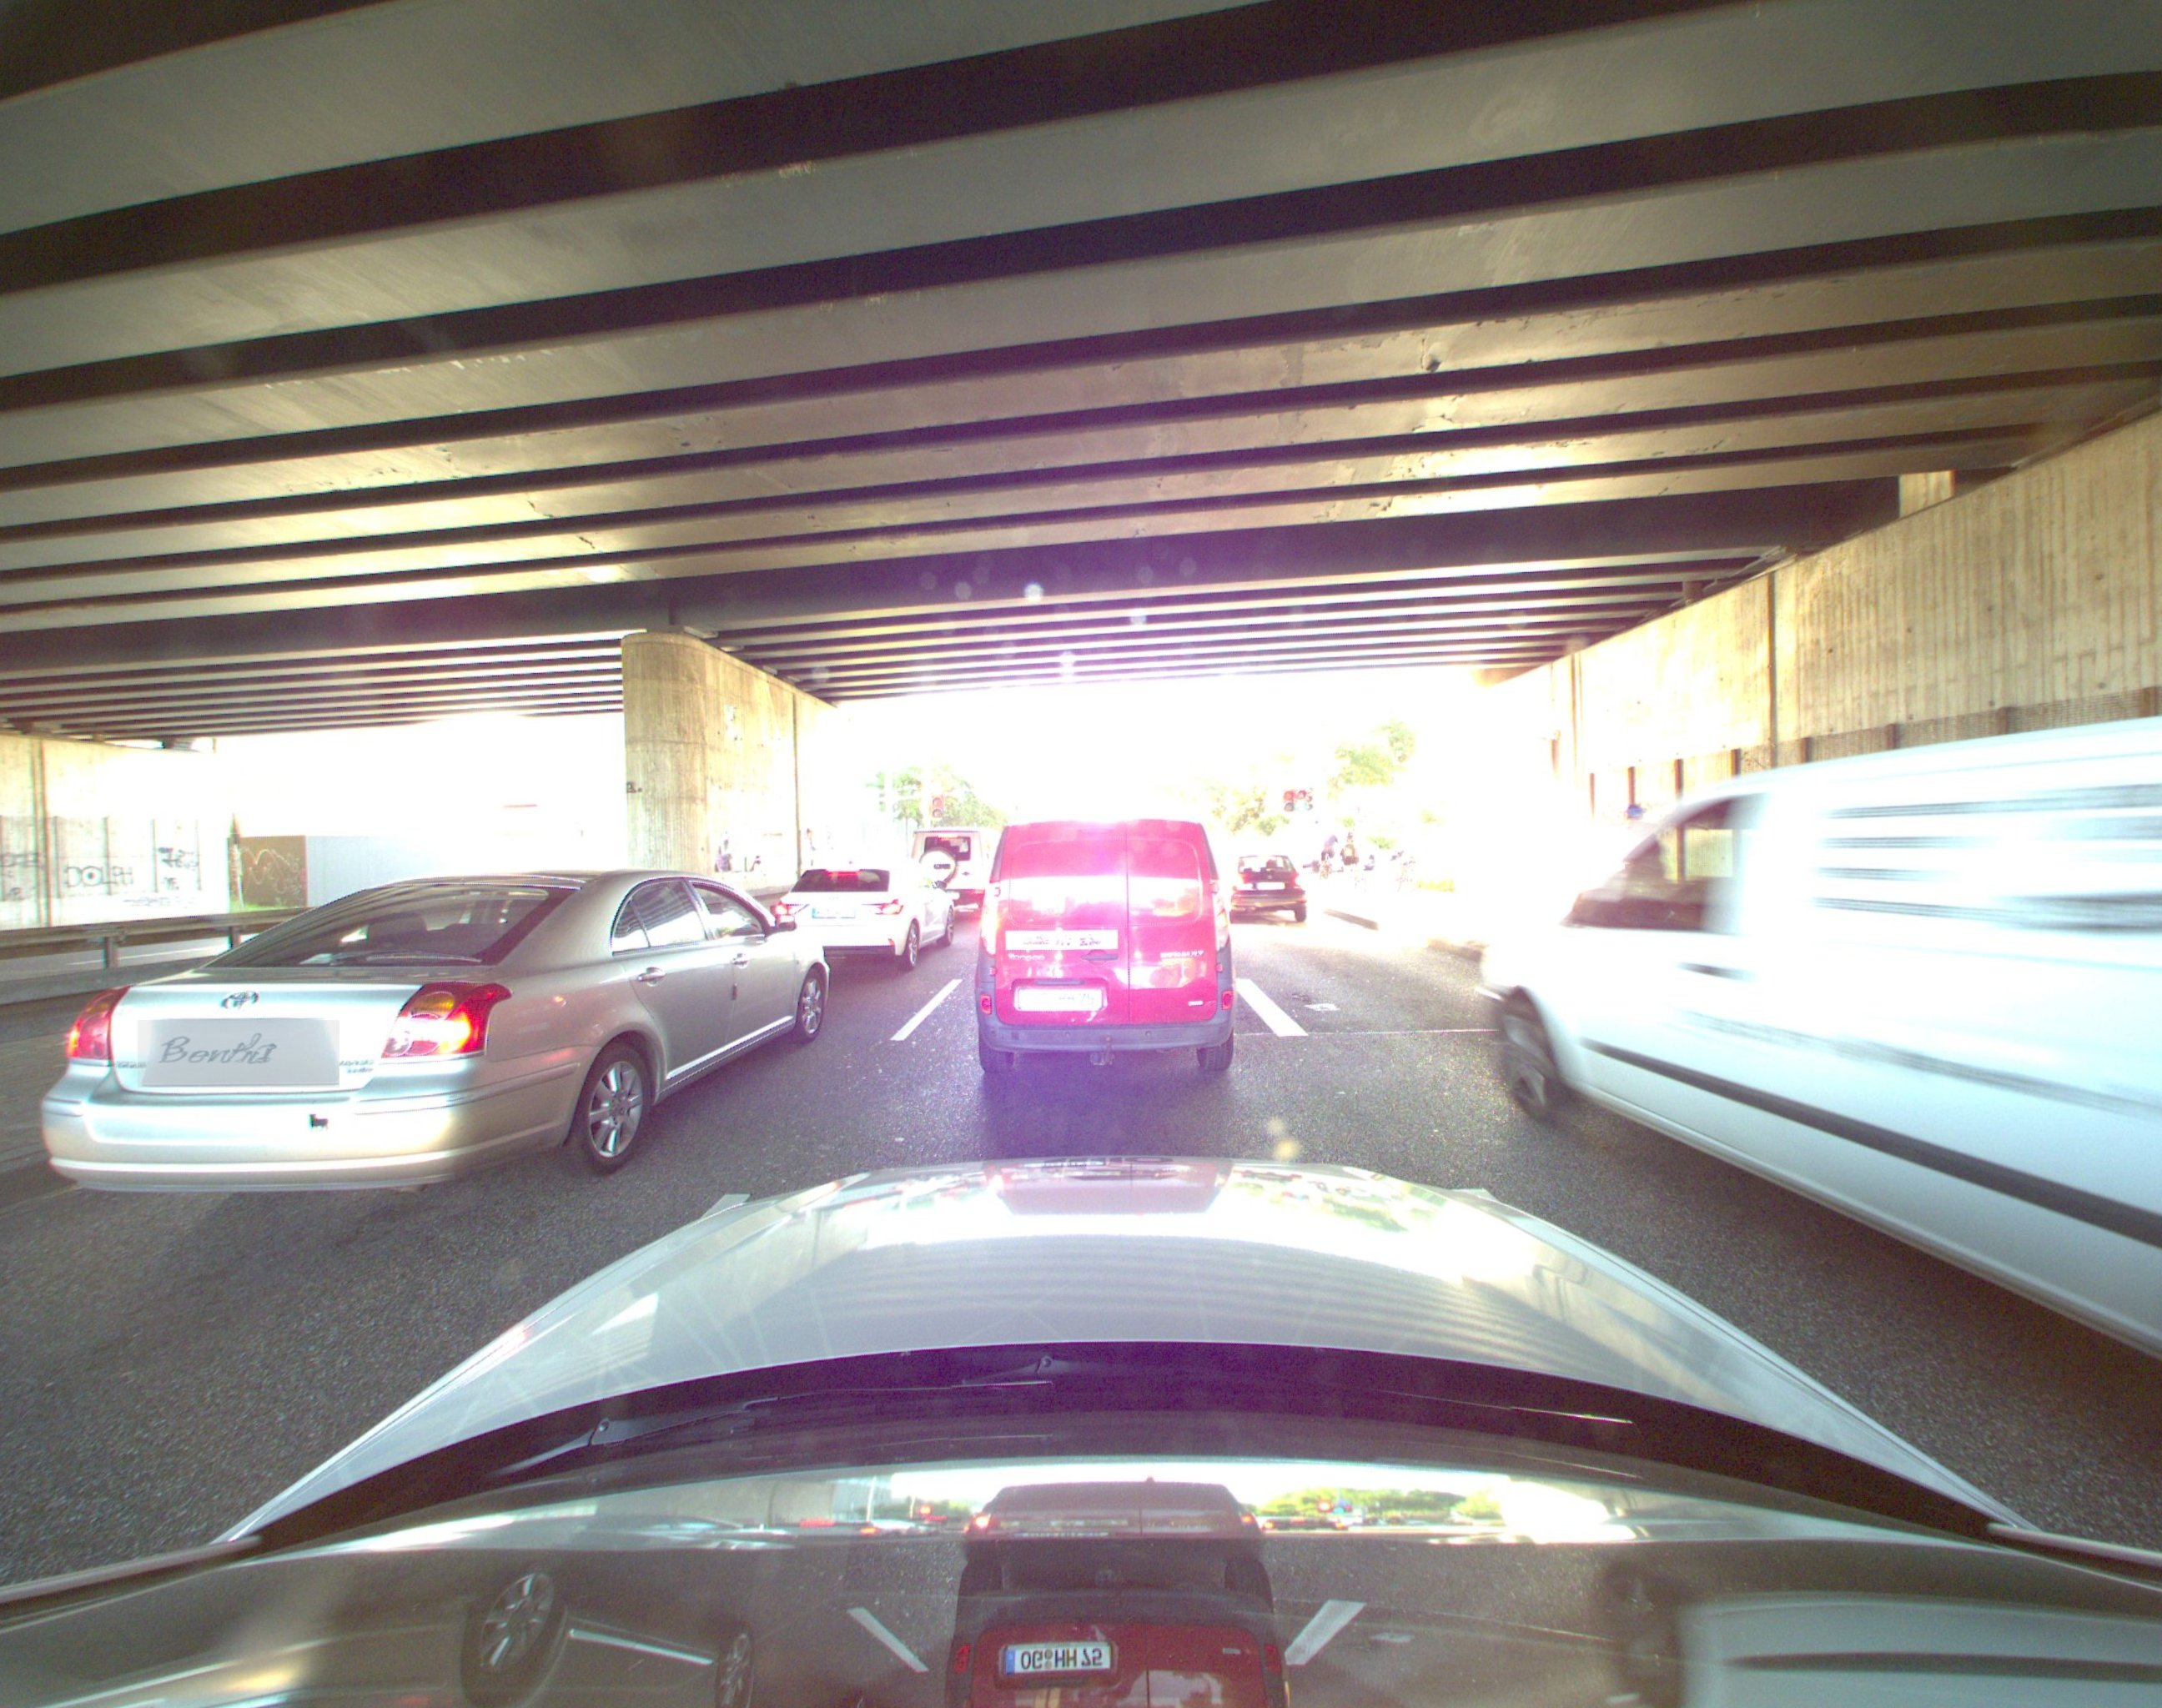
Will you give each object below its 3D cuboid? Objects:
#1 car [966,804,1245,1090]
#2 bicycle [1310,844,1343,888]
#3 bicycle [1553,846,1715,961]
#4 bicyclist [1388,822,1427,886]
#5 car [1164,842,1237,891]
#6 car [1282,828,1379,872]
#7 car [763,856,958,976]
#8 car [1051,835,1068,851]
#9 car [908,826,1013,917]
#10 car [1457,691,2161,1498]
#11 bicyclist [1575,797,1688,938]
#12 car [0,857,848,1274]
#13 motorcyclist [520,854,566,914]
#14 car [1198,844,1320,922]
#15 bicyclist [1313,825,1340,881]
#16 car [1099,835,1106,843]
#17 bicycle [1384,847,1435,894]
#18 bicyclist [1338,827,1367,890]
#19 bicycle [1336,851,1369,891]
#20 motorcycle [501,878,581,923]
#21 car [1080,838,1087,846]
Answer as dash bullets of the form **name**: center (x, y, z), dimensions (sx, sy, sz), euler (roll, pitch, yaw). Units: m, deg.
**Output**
- **car**: center (0.213, 0.574, 7.051), dimensions (1.712, 1.764, 4.002), euler (0, 0, 2)
- **bicycle**: center (7.360, 0.333, 24.321), dimensions (0.759, 1.146, 2.482), euler (-3, 1, 20)
- **bicycle**: center (6.409, 0.522, 9.562), dimensions (0.649, 1.167, 1.778), euler (-4, 1, 0)
- **bicyclist**: center (8.286, 0.002, 20.708), dimensions (0.667, 1.561, 0.735), euler (-2, -1, 2)
- **car**: center (3.841, 0.373, 26.826), dimensions (1.740, 1.456, 4.663), euler (0, 0, 0)
- **car**: center (11.283, -0.203, 36.754), dimensions (4.315, 1.833, 1.801), euler (-2, 1, -32)
- **car**: center (-2.931, 0.744, 11.670), dimensions (1.686, 1.410, 3.814), euler (0, 0, 1)
- **car**: center (-2.788, -1.413, 107.773), dimensions (1.986, 2.014, 4.001), euler (0, 0, 2)
- **car**: center (-2.701, 0.359, 19.043), dimensions (1.807, 1.904, 3.814), euler (0, 0, 1)
- **car**: center (3.406, 0.539, 2.923), dimensions (1.891, 1.836, 4.835), euler (0, 0, 0)
- **bicyclist**: center (6.377, 0.147, 9.481), dimensions (0.650, 1.534, 0.847), euler (-4, 0, 0)
- **car**: center (-2.991, 0.765, 5.114), dimensions (1.690, 1.455, 4.399), euler (0, 0, 1)
- **motorcyclist**: center (-13.987, 0.773, 21.185), dimensions (0.694, 1.527, 0.698), euler (0, 0, 1)
- **car**: center (3.629, 0.551, 17.230), dimensions (1.740, 1.456, 3.715), euler (0, 0, -1)
- **bicyclist**: center (7.362, -0.026, 24.415), dimensions (0.740, 1.655, 0.890), euler (0, -1, 19)
- **car**: center (5.791, -4.012, 220.910), dimensions (1.986, 2.014, 4.001), euler (0, 0, 2)
- **bicycle**: center (8.288, 0.401, 20.607), dimensions (0.678, 1.113, 1.605), euler (-2, -1, 2)
- **bicyclist**: center (7.214, 0.118, 21.660), dimensions (0.673, 1.629, 0.646), euler (0, -1, 12)
- **bicycle**: center (7.220, 0.438, 21.674), dimensions (0.672, 1.024, 1.534), euler (0, 0, 12)
- **motorcycle**: center (-13.990, 1.176, 21.174), dimensions (0.690, 1.027, 2.010), euler (-1, 1, 2)
- **car**: center (0.690, -3.180, 216.561), dimensions (1.741, 2.014, 3.846), euler (0, 0, 2)
